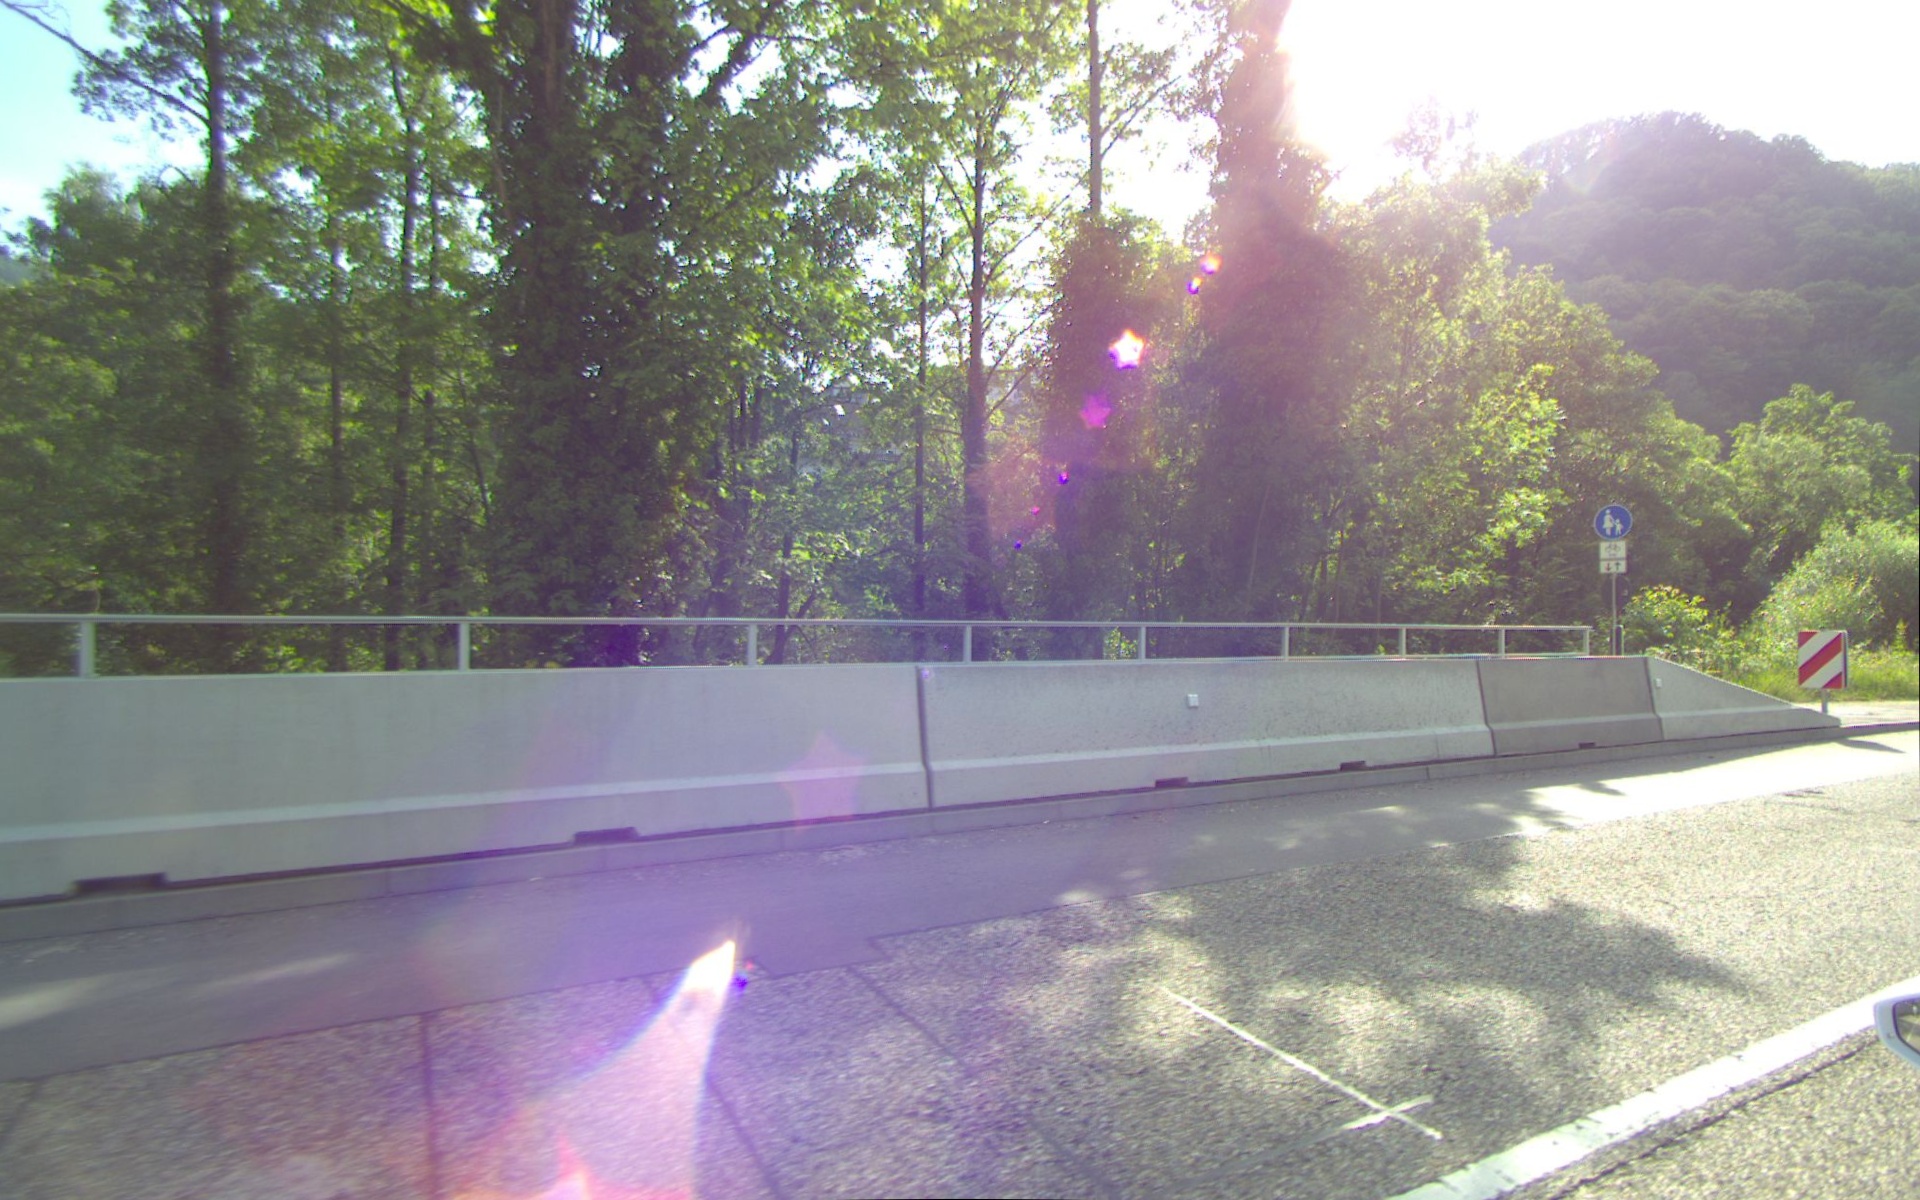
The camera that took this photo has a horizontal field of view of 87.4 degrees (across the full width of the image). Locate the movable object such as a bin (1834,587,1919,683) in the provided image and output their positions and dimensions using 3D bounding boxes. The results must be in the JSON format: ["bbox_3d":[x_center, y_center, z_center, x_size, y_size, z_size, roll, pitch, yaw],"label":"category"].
[{"bbox_3d":[43.583,1.637,45.502,9.866,3.999,2.689,2,-3,-28],"label":"movable object such as a bin"}]
